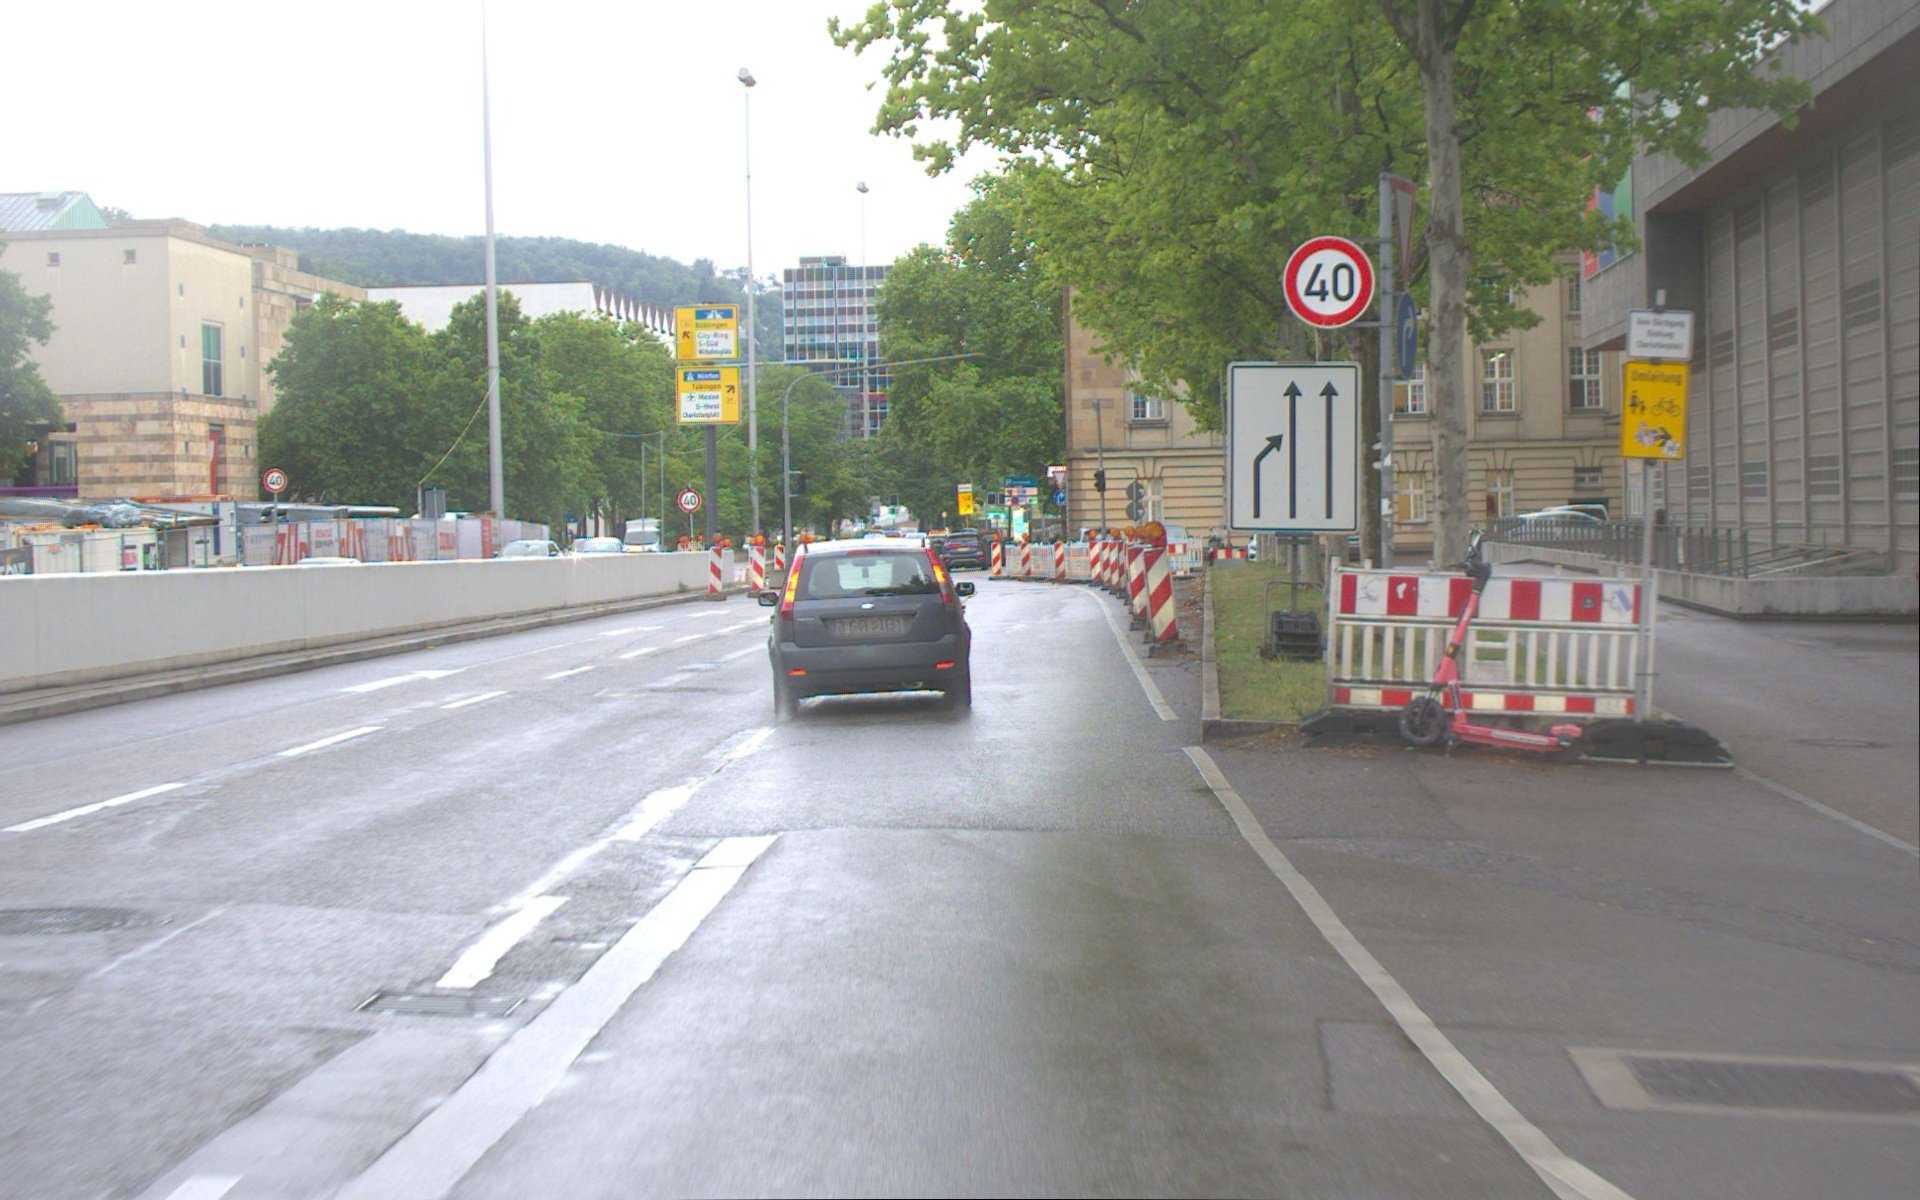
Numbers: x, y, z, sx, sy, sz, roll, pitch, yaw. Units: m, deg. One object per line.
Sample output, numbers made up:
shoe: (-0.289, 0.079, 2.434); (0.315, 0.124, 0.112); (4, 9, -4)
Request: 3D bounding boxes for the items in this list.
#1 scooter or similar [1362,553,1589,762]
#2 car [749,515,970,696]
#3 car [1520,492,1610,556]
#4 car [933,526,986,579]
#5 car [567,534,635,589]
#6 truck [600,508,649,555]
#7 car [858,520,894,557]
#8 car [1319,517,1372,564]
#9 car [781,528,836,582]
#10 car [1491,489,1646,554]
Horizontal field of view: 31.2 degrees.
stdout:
scooter or similar: (3.256, 0.359, 21.784); (1.356, 1.281, 0.619); (1, -1, 4)
car: (-0.915, -0.001, 29.385); (1.669, 1.422, 3.758); (-1, 1, -5)
car: (18.264, -2.279, 103.959); (1.994, 1.754, 5.096); (-1, 0, 3)
car: (-0.008, -1.890, 135.667); (1.993, 2.006, 4.000); (0, 2, 2)
car: (-13.372, -1.456, 128.185); (1.993, 2.007, 4.000); (1, 1, 1)
truck: (-18.089, -3.646, 185.184); (2.412, 2.331, 5.445); (1, -1, -8)
car: (-4.865, -3.523, 198.744); (1.993, 2.007, 4.000); (1, -1, -3)
car: (14.796, -2.270, 131.817); (1.994, 1.703, 3.999); (0, 0, 7)
car: (-4.041, -1.192, 91.850); (1.385, 1.382, 3.067); (-2, 0, -2)
car: (16.993, -2.177, 96.077); (3.987, 1.554, 1.933); (-2, -2, 3)
